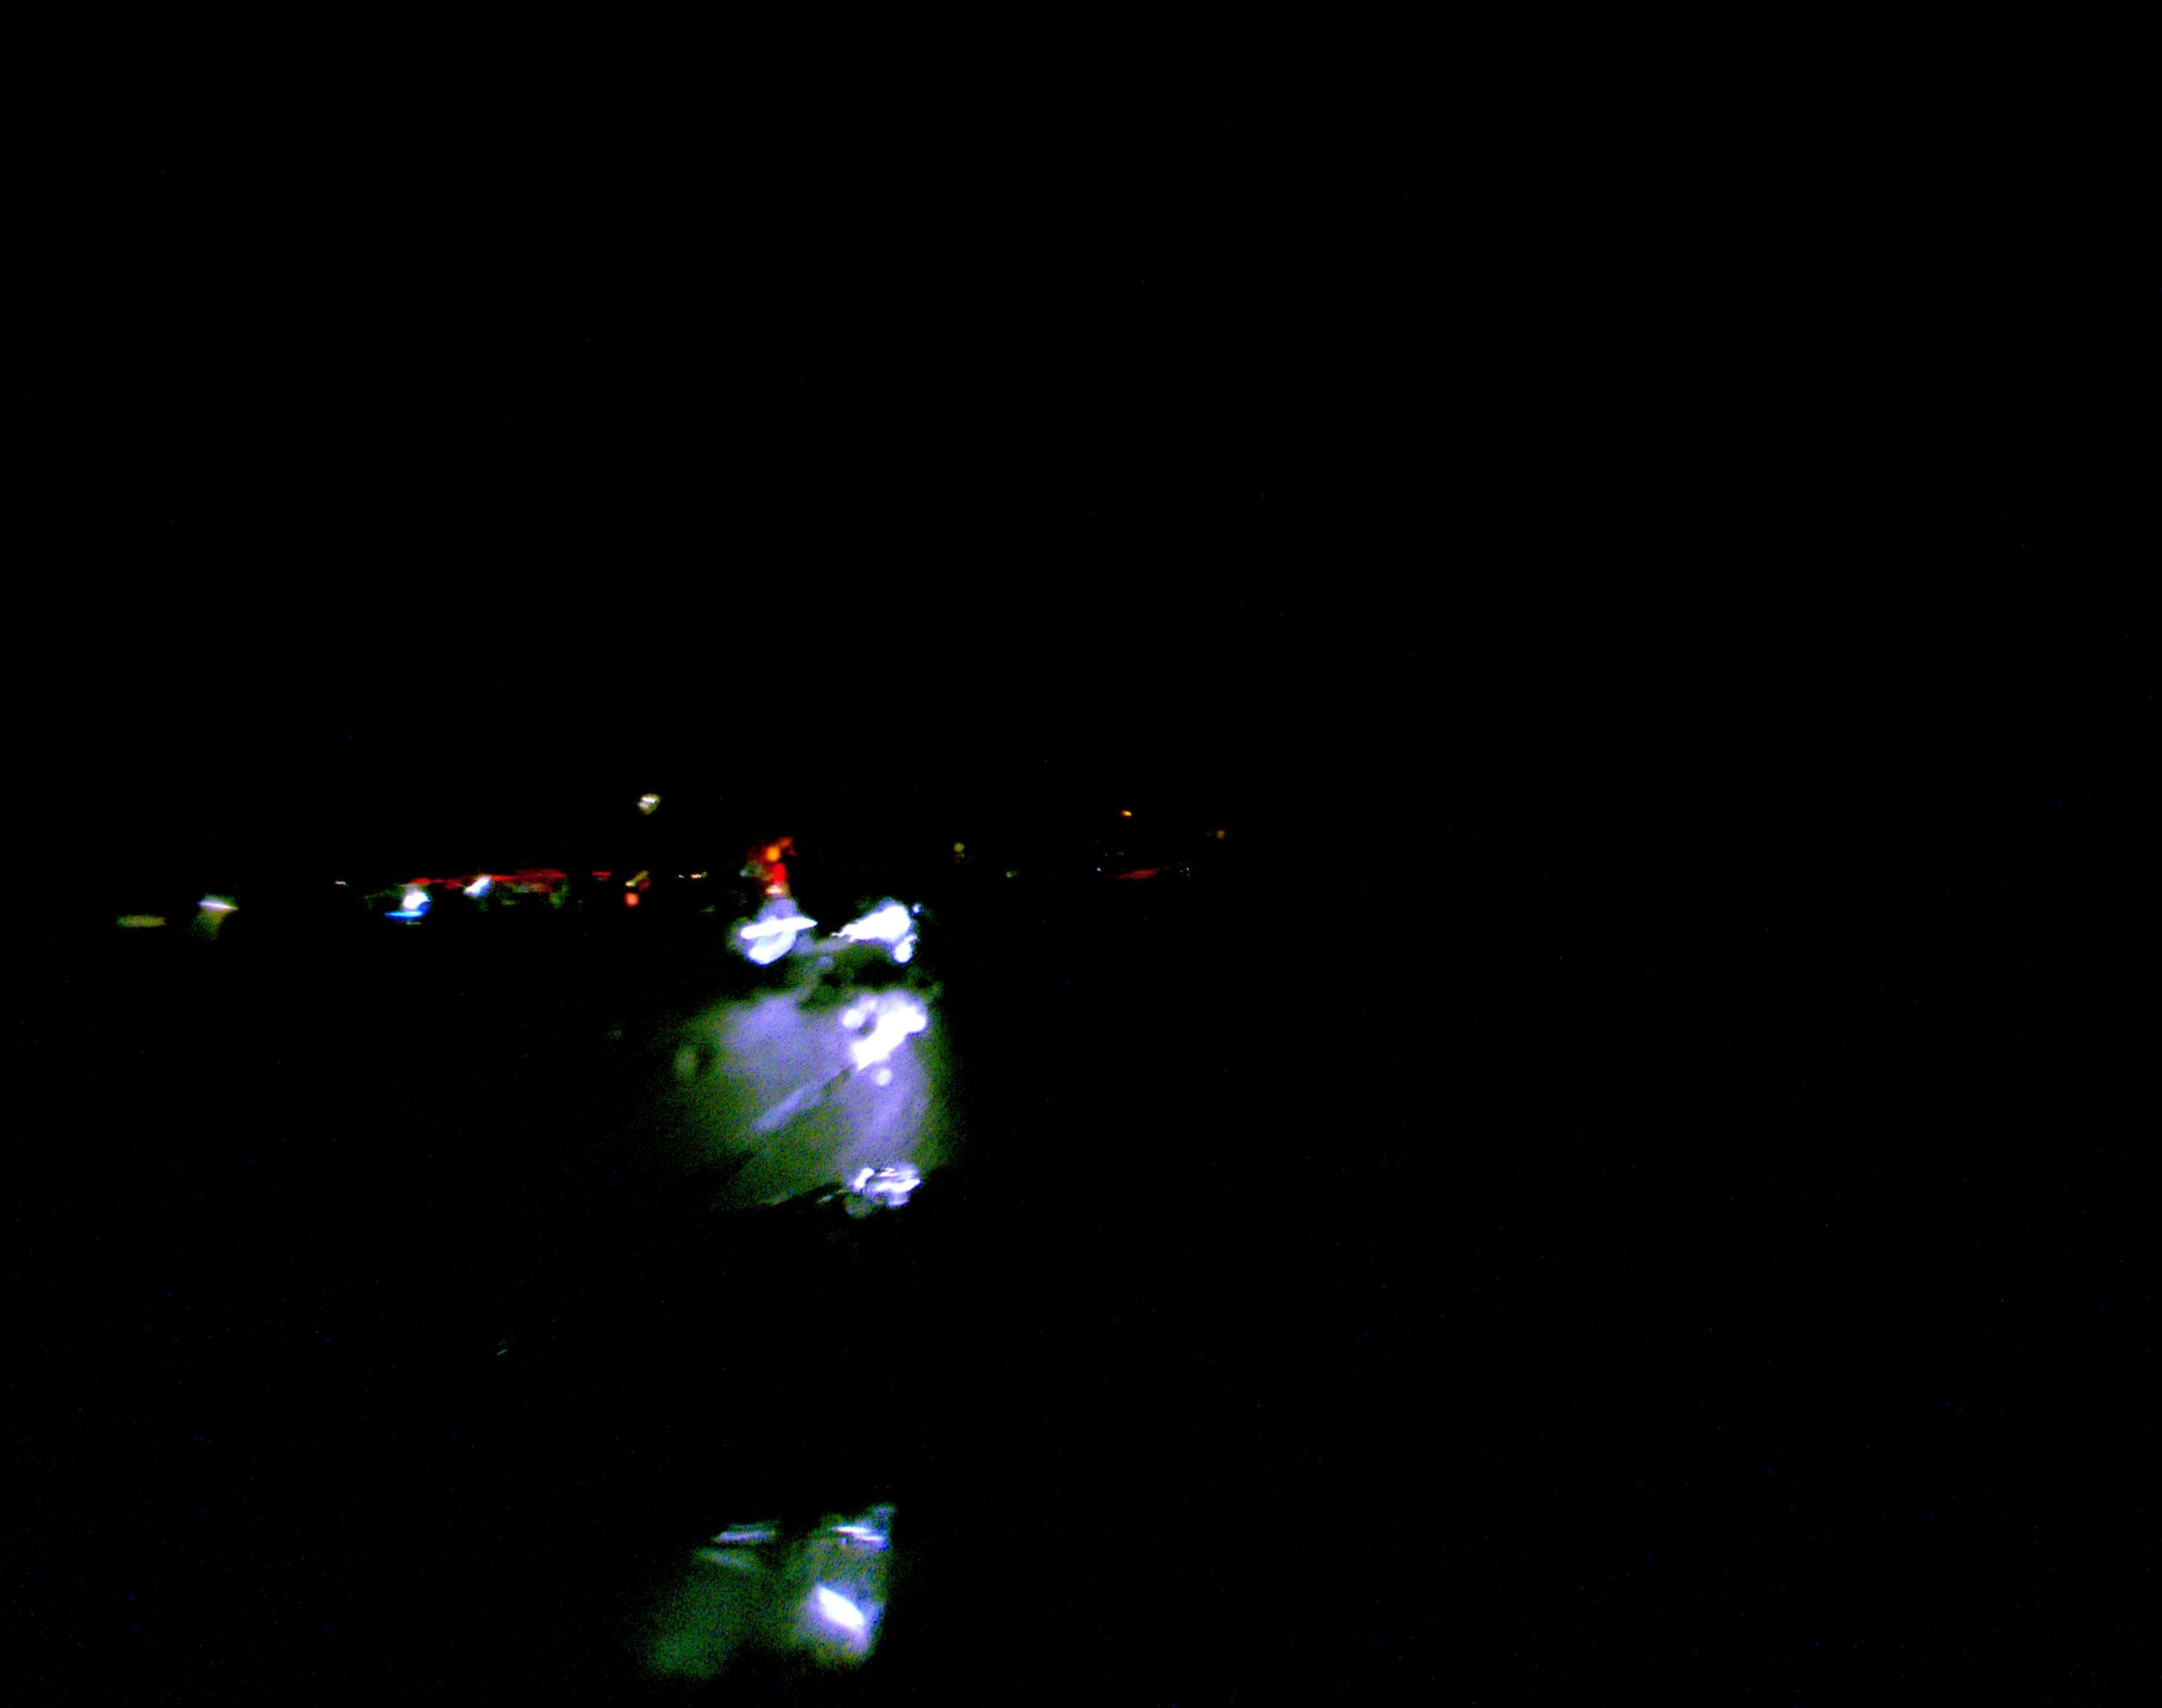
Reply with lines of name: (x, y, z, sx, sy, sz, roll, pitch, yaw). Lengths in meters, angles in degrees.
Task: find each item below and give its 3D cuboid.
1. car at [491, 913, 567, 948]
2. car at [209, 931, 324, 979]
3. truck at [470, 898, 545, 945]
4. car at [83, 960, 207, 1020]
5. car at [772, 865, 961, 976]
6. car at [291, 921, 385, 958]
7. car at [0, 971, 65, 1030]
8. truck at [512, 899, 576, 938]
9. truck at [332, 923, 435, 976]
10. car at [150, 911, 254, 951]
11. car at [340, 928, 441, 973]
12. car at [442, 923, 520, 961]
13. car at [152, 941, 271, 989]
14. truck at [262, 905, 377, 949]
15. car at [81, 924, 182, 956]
car: (-33.002, 4.547, 48.804, 1.767, 1.596, 3.997, -7, -1, -2)
car: (-37.071, 4.560, 37.185, 1.743, 1.618, 3.507, -5, -1, -4)
truck: (-45.311, 5.253, 64.548, 1.999, 3.175, 5.699, -7, -1, -6)
car: (-33.635, 4.843, 29.416, 1.825, 1.567, 4.162, -5, -1, -34)
car: (-3.009, 0.858, 12.350, 1.585, 1.380, 4.326, 0, -1, 2)
car: (-43.233, 4.930, 47.511, 1.767, 1.596, 3.997, -7, -1, -2)
car: (-33.741, 4.623, 24.240, 2.000, 1.567, 4.822, -5, -1, -19)
truck: (-42.534, 5.075, 64.693, 1.770, 2.631, 5.167, -7, -1, -6)
truck: (-40.694, 5.521, 47.687, 1.767, 2.444, 4.814, -7, -1, -2)
car: (-58.248, 5.045, 54.103, 1.986, 2.265, 4.460, -1, -1, 2)
car: (-32.184, 4.468, 38.083, 1.743, 1.618, 3.507, -5, -1, -4)
car: (-35.612, 5.186, 48.431, 1.767, 1.693, 3.747, -7, -1, -2)
car: (-39.529, 4.993, 37.159, 1.677, 1.618, 3.507, -5, -1, -4)
truck: (-52.322, 4.945, 56.197, 2.317, 2.463, 6.477, -1, -1, -6)
car: (-63.139, 5.697, 54.268, 1.850, 1.712, 4.004, -1, -1, 4)
